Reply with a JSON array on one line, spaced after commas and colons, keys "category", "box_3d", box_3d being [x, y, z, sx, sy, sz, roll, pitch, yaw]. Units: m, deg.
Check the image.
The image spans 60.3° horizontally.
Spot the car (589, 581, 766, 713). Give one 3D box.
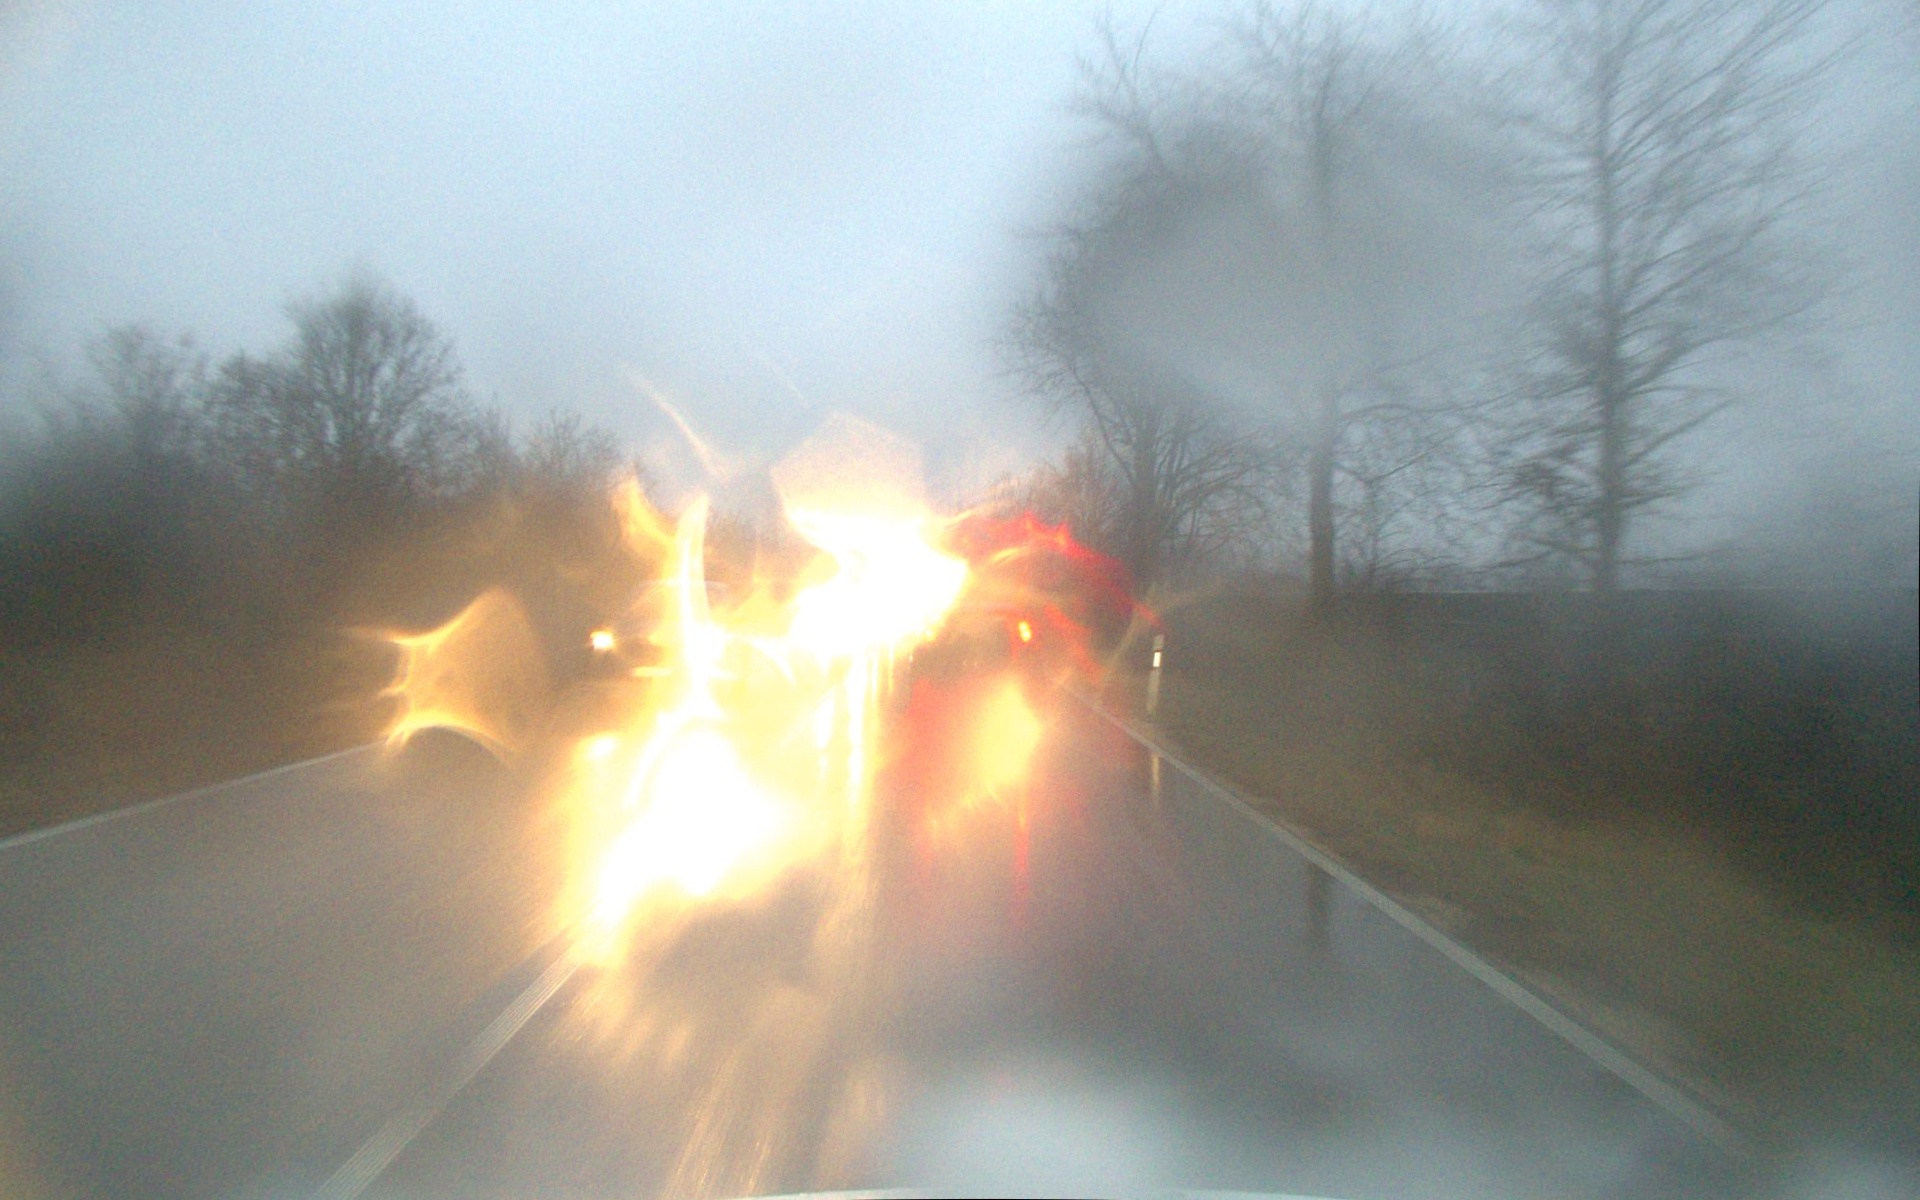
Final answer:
[{"category": "car", "box_3d": [-3.874, 0.604, 23.349, 1.883, 1.683, 4.103, 1, 0, -2]}]

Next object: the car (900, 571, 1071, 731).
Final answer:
[{"category": "car", "box_3d": [0.312, 0.590, 21.229, 1.952, 1.816, 4.000, 1, 0, 0]}]

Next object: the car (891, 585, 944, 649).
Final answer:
[{"category": "car", "box_3d": [-1.330, 0.513, 52.076, 1.542, 1.907, 3.708, 1, 0, -1]}]

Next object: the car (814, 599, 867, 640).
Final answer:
[{"category": "car", "box_3d": [-4.520, 0.733, 63.069, 1.780, 1.466, 3.455, 1, 0, -1]}]
